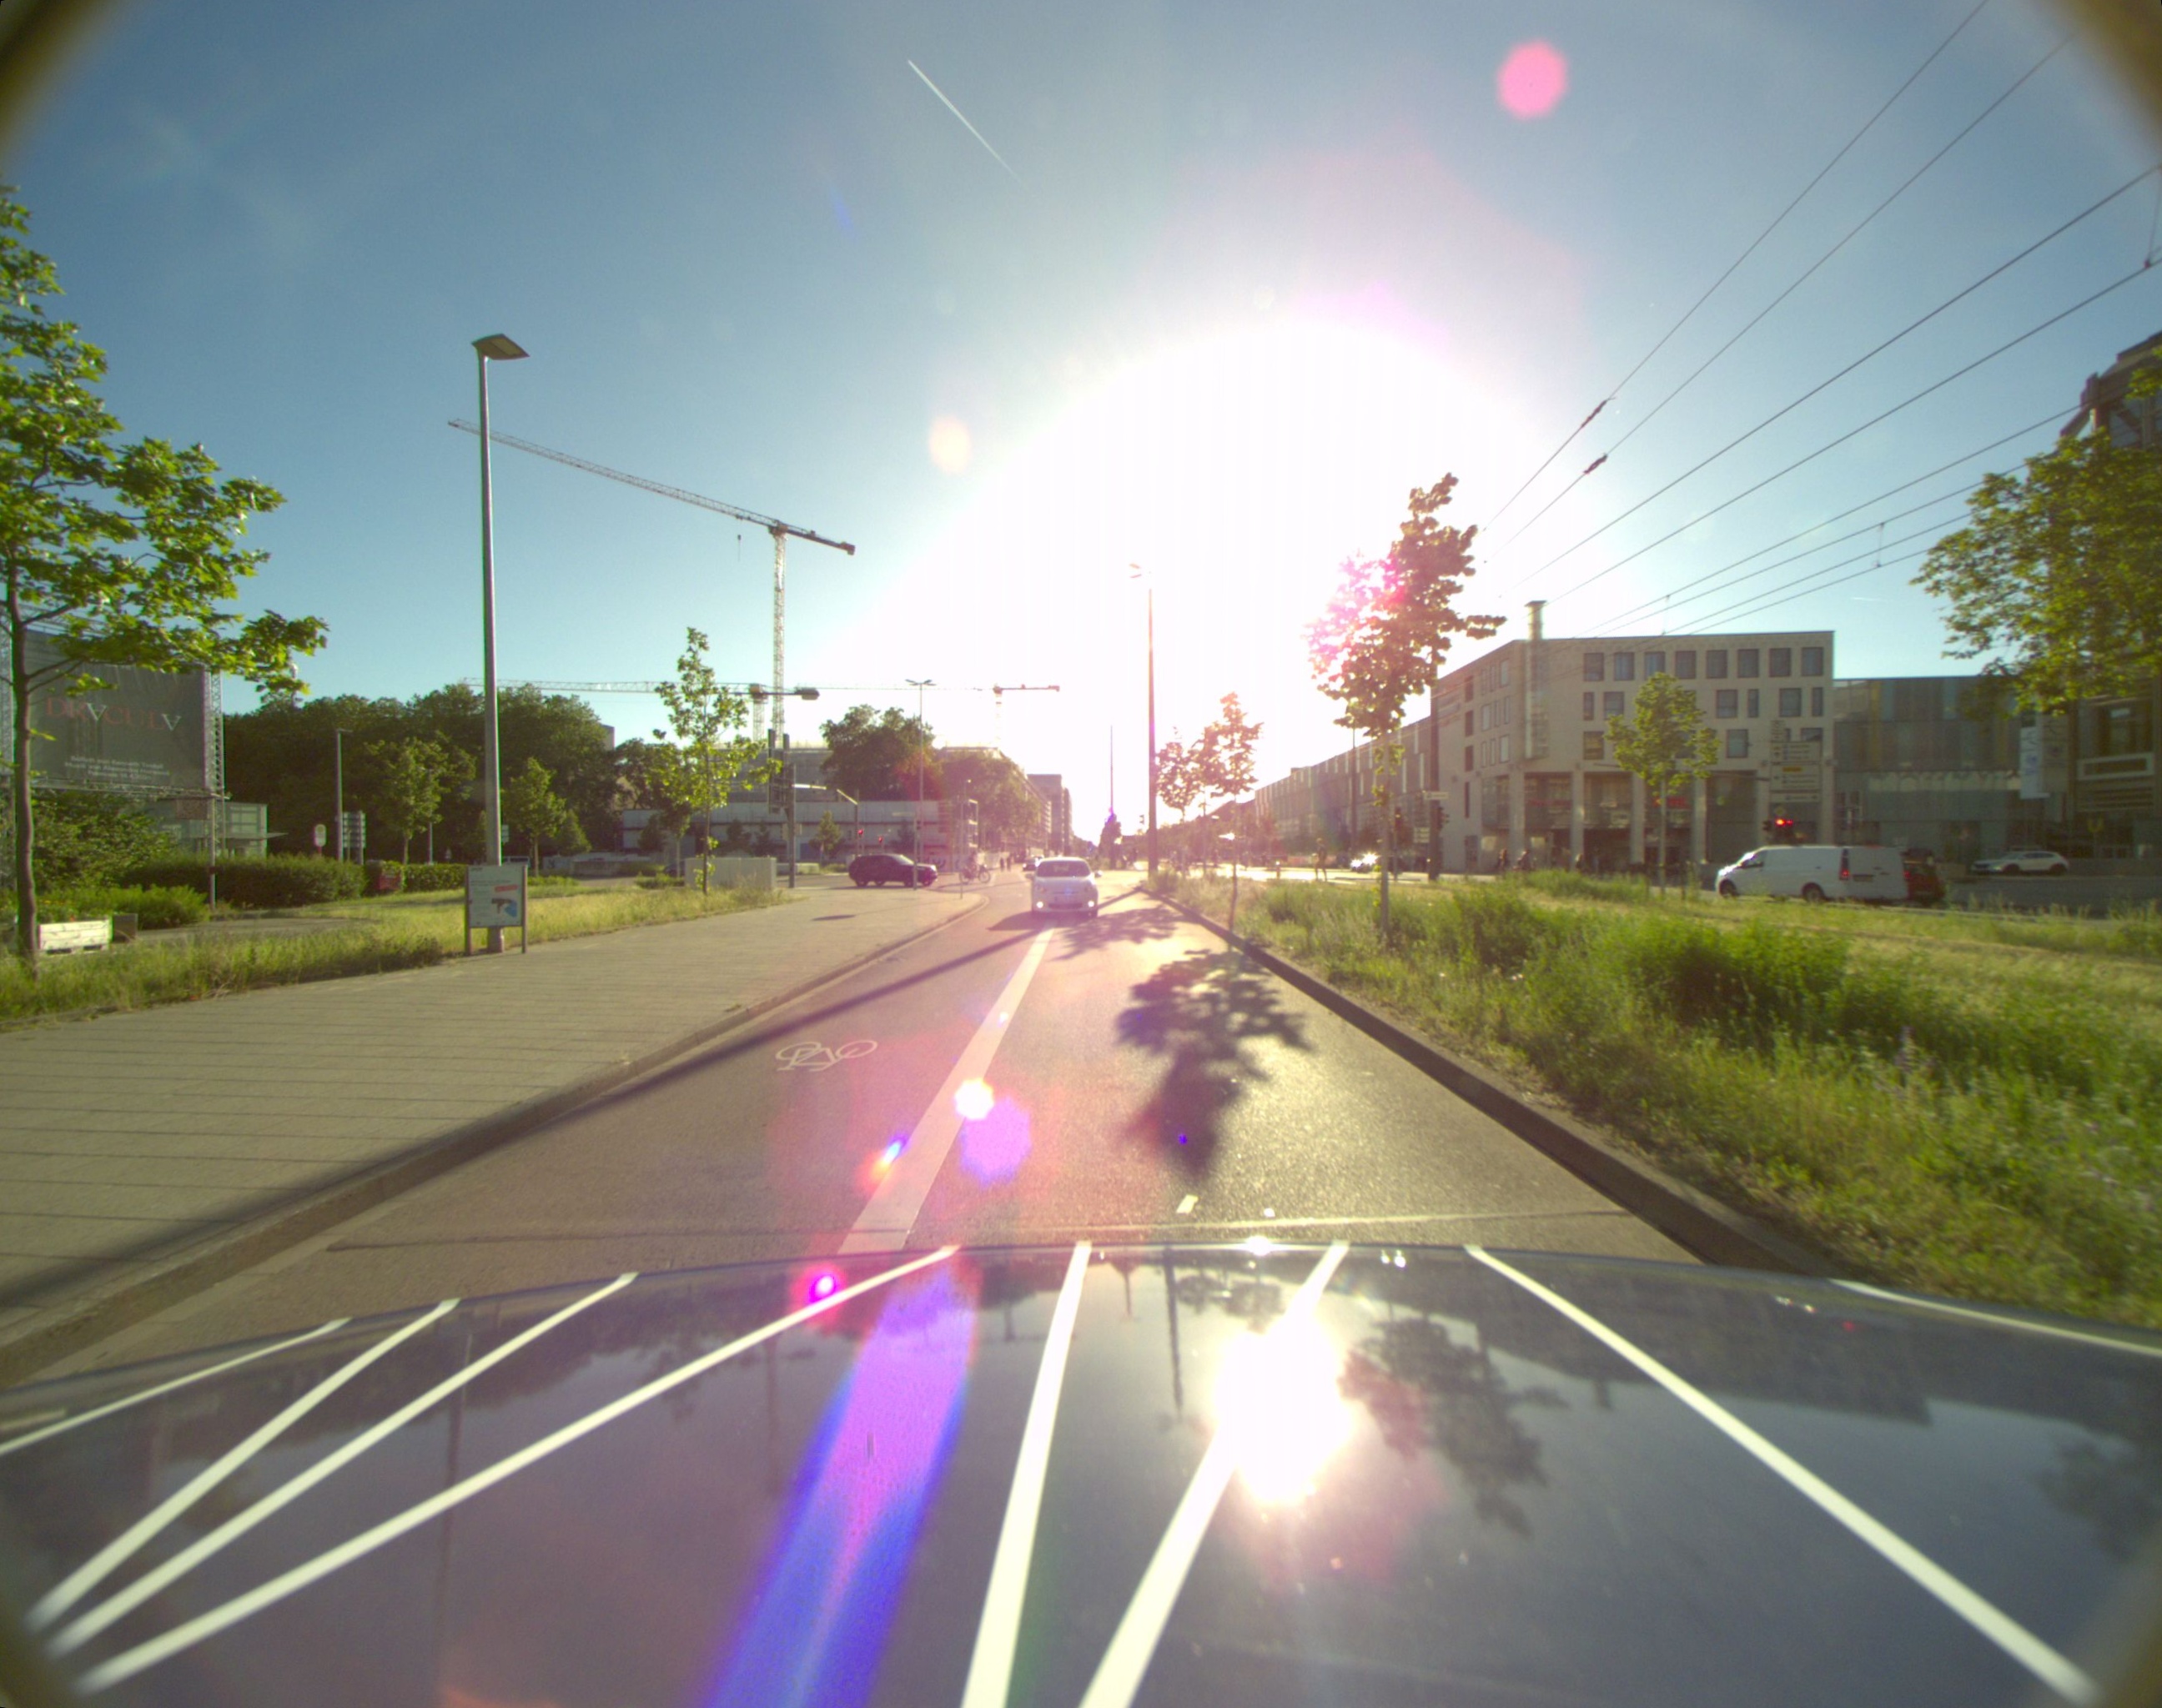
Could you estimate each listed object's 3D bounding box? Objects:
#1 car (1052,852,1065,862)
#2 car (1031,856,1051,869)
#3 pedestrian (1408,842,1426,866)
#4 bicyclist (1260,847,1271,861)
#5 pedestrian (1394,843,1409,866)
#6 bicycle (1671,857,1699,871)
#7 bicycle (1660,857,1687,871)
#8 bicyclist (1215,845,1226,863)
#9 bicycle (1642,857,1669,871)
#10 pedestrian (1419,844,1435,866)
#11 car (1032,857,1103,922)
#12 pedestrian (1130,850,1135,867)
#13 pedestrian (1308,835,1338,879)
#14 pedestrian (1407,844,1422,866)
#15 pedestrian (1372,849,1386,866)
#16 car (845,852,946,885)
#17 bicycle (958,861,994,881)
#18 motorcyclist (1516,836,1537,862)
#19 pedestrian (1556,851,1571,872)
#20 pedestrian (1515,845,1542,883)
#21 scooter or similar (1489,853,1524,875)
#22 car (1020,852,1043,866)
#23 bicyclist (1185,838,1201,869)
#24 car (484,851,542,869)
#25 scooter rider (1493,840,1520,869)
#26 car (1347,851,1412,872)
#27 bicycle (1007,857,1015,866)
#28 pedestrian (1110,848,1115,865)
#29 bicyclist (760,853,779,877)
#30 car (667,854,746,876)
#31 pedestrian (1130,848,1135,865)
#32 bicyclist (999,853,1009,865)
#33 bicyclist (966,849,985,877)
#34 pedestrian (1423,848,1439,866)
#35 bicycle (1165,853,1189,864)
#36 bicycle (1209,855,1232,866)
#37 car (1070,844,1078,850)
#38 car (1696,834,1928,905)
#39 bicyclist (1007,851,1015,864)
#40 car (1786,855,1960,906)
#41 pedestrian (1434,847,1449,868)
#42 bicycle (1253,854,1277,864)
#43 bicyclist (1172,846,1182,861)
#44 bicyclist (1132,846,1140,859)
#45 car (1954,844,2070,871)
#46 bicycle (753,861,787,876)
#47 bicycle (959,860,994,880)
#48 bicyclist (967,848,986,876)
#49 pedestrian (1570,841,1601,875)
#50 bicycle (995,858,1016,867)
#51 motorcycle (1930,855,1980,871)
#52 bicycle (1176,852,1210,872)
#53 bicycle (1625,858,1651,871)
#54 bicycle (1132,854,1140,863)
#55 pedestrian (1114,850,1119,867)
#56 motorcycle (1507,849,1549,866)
[{"bbox_3d":[-3.458,0.433,118.965,1.785,1.317,3.999,0,2,1],"label":"car"},{"bbox_3d":[-4.685,1.006,89.345,1.998,1.368,4.000,-1,0,2],"label":"car"},{"bbox_3d":[30.447,-0.006,68.941,1.100,2.117,1.060,-1,1,-34],"label":"pedestrian"},{"bbox_3d":[17.573,-0.015,72.535,0.841,1.349,0.805,-1,1,1],"label":"bicyclist"},{"bbox_3d":[29.913,0.010,70.838,0.948,2.111,0.896,-1,1,-24],"label":"pedestrian"},{"bbox_3d":[49.931,0.814,62.857,0.683,1.104,2.477,0,0,8],"label":"bicycle"},{"bbox_3d":[49.141,0.834,63.045,0.683,1.104,2.478,0,0,10],"label":"bicycle"},{"bbox_3d":[12.577,0.007,68.693,0.940,1.536,0.649,-1,1,7],"label":"bicyclist"},{"bbox_3d":[47.792,0.841,63.246,0.683,1.104,2.477,0,0,8],"label":"bicycle"},{"bbox_3d":[32.122,0.101,70.615,1.025,2.002,0.915,-1,1,-32],"label":"pedestrian"},{"bbox_3d":[-0.356,0.847,19.937,1.660,1.463,3.968,-1,1,-1],"label":"car"},{"bbox_3d":[4.900,0.407,72.332,0.450,1.557,0.520,-1,1,7],"label":"pedestrian"},{"bbox_3d":[10.737,0.138,33.755,1.049,1.900,1.015,-1,1,4],"label":"pedestrian"},{"bbox_3d":[31.583,0.069,71.972,0.948,2.111,0.897,-1,1,-20],"label":"pedestrian"},{"bbox_3d":[26.847,0.325,68.445,0.943,1.562,0.843,1,2,40],"label":"pedestrian"},{"bbox_3d":[-9.674,0.745,39.641,4.781,1.652,2.003,0,1,21],"label":"car"},{"bbox_3d":[-5.788,0.936,41.889,1.797,1.088,0.653,0,1,10],"label":"bicycle"},{"bbox_3d":[26.025,-0.297,44.372,0.880,1.475,0.758,0,2,15],"label":"motorcyclist"},{"bbox_3d":[39.702,0.583,62.526,0.756,1.730,0.753,0,1,5],"label":"pedestrian"},{"bbox_3d":[21.055,0.449,35.737,0.739,1.734,0.858,-1,1,-1],"label":"pedestrian"},{"bbox_3d":[22.908,0.540,40.917,1.482,1.169,0.644,0,2,4],"label":"scooter or similar"},{"bbox_3d":[-5.350,0.536,82.928,1.998,1.368,4.000,-1,0,2],"label":"car"},{"bbox_3d":[6.095,-0.010,41.471,0.785,1.659,0.701,0,1,3],"label":"bicyclist"},{"bbox_3d":[-66.588,0.677,89.181,1.997,1.880,5.335,-1,0,12],"label":"car"},{"bbox_3d":[22.901,0.046,40.905,1.116,1.535,0.644,0,2,4],"label":"scooter rider"},{"bbox_3d":[23.165,0.572,59.061,4.289,1.571,1.944,-1,0,5],"label":"car"},{"bbox_3d":[-7.432,0.796,81.116,0.805,0.922,2.076,-1,1,-4],"label":"bicycle"},{"bbox_3d":[2.987,0.212,71.945,0.450,1.557,0.520,-1,1,7],"label":"pedestrian"},{"bbox_3d":[-20.184,0.690,49.238,0.937,1.495,0.624,-1,2,-2],"label":"bicyclist"},{"bbox_3d":[-25.157,0.736,51.121,4.520,1.344,1.777,0,2,7],"label":"car"},{"bbox_3d":[4.937,0.232,73.387,0.450,1.557,0.520,-1,1,7],"label":"pedestrian"},{"bbox_3d":[-7.934,0.528,78.455,0.636,1.263,0.807,-1,1,23],"label":"bicyclist"},{"bbox_3d":[-5.801,0.478,41.871,0.846,1.534,0.652,0,1,9],"label":"bicyclist"},{"bbox_3d":[31.309,0.272,67.952,0.950,1.641,1.005,-1,1,-36],"label":"pedestrian"},{"bbox_3d":[8.788,0.432,69.396,2.074,0.973,0.806,-1,1,10],"label":"bicycle"},{"bbox_3d":[12.579,0.570,68.696,1.976,0.991,0.649,-1,1,7],"label":"bicycle"},{"bbox_3d":[-1.662,-1.622,184.995,1.785,1.317,3.998,0,2,0],"label":"car"},{"bbox_3d":[23.577,0.427,24.972,2.264,2.002,5.710,2,1,3],"label":"car"},{"bbox_3d":[-7.442,0.360,81.117,0.805,1.290,0.776,-1,1,-4],"label":"bicyclist"},{"bbox_3d":[26.618,0.837,25.753,1.844,1.477,3.880,3,0,2],"label":"car"},{"bbox_3d":[33.649,0.313,70.928,1.025,2.002,0.915,-1,1,-33],"label":"pedestrian"},{"bbox_3d":[17.588,0.442,72.540,2.075,0.922,0.805,-1,1,1],"label":"bicycle"},{"bbox_3d":[8.736,-0.043,69.391,0.842,1.394,0.806,-1,1,10],"label":"bicyclist"},{"bbox_3d":[6.262,-0.138,86.451,0.755,1.496,0.617,-1,1,0],"label":"bicyclist"},{"bbox_3d":[61.961,0.205,50.663,4.544,1.703,2.126,0,2,10],"label":"car"},{"bbox_3d":[-20.172,0.931,49.243,1.909,0.903,0.624,-1,2,-3],"label":"bicycle"},{"bbox_3d":[-5.879,0.916,42.685,1.813,1.110,0.626,0,1,9],"label":"bicycle"},{"bbox_3d":[-5.872,0.433,42.683,0.893,1.566,0.626,0,1,9],"label":"bicyclist"},{"bbox_3d":[24.248,0.192,36.520,0.925,1.540,0.896,-3,1,-34],"label":"pedestrian"},{"bbox_3d":[-7.800,0.851,78.407,2.072,0.922,0.807,-1,1,23],"label":"bicycle"},{"bbox_3d":[69.681,0.695,60.602,0.915,1.211,2.675,0,2,0],"label":"motorcycle"},{"bbox_3d":[6.102,0.444,41.488,1.798,1.088,0.709,0,1,3],"label":"bicycle"},{"bbox_3d":[46.454,0.861,63.377,0.657,1.106,2.411,0,0,7],"label":"bicycle"},{"bbox_3d":[6.277,0.533,86.464,0.755,0.935,2.394,-1,0,0],"label":"bicycle"},{"bbox_3d":[3.369,0.408,72.515,0.450,1.557,0.520,-1,1,7],"label":"pedestrian"},{"bbox_3d":[26.089,0.176,44.368,1.956,0.963,0.758,0,2,14],"label":"motorcycle"}]
